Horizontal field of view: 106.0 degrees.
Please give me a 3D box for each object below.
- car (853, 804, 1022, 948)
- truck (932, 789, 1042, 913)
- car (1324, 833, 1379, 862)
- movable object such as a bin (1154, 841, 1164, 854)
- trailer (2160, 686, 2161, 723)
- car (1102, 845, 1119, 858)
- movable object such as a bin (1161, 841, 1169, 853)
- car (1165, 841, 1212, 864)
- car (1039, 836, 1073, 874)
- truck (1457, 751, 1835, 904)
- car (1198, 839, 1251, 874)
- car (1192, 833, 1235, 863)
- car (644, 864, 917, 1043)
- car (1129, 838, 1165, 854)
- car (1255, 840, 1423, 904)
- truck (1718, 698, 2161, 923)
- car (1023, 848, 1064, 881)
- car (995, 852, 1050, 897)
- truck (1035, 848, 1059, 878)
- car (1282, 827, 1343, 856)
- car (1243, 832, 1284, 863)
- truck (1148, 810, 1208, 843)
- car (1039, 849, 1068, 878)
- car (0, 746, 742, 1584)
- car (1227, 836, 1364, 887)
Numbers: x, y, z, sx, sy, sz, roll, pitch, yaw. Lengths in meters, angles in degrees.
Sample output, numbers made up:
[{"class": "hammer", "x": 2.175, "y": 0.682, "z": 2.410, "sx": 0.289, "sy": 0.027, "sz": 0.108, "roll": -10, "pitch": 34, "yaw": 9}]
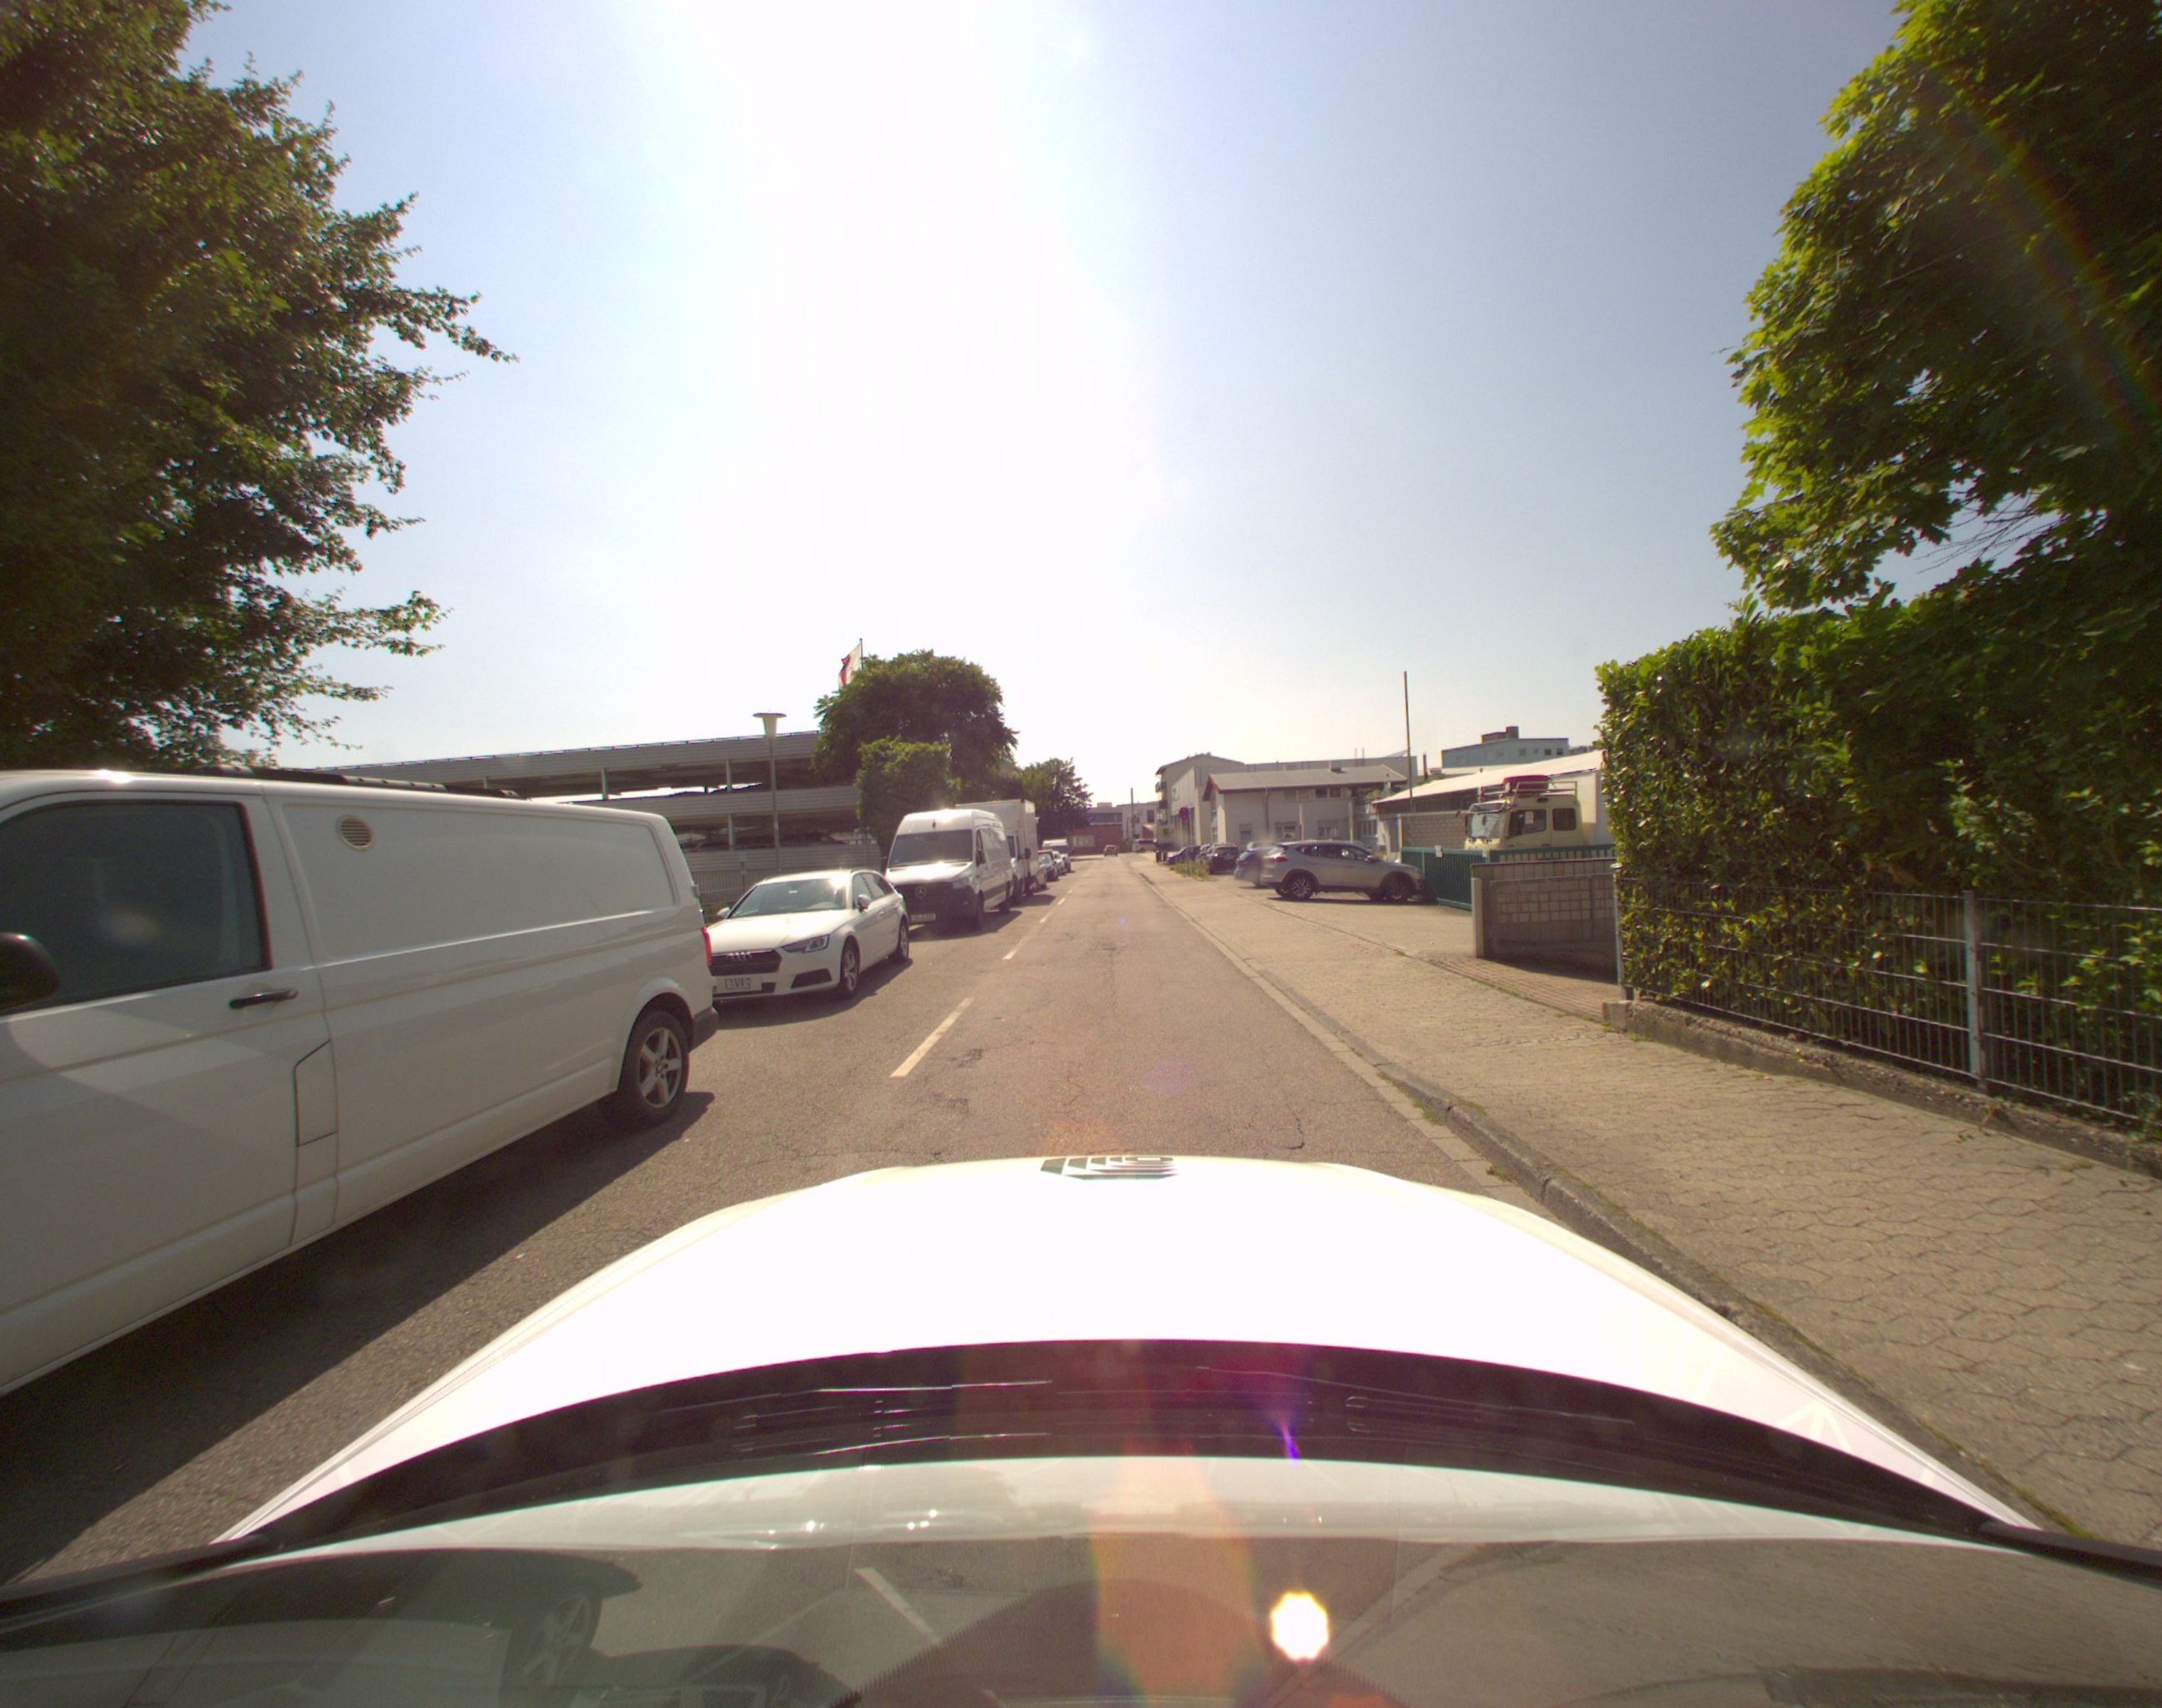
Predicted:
[{"class": "car", "x": -3.023, "y": 0.390, "z": 19.164, "sx": 2.159, "sy": 2.595, "sz": 6.926, "roll": -5, "pitch": 0, "yaw": 3}, {"class": "truck", "x": -2.889, "y": -0.109, "z": 27.061, "sx": 2.677, "sy": 3.366, "sz": 7.127, "roll": -4, "pitch": 0, "yaw": -1}, {"class": "car", "x": 13.728, "y": -0.373, "z": 41.546, "sx": 1.634, "sy": 1.324, "sz": 4.106, "roll": -4, "pitch": 1, "yaw": 5}, {"class": "movable object such as a bin", "x": 6.471, "y": -0.536, "z": 67.210, "sx": 0.562, "sy": 0.946, "sz": 0.561, "roll": -4, "pitch": 1, "yaw": 35}, {"class": "trailer", "x": 26.212, "y": -1.747, "z": 14.749, "sx": 8.289, "sy": 3.862, "sz": 3.074, "roll": -4, "pitch": 0, "yaw": 7}, {"class": "car", "x": 4.069, "y": -0.316, "z": 112.288, "sx": 1.885, "sy": 1.685, "sz": 3.955, "roll": -5, "pitch": 0, "yaw": -2}, {"class": "movable object such as a bin", "x": 6.978, "y": -0.552, "z": 67.609, "sx": 0.510, "sy": 0.946, "sz": 0.489, "roll": -4, "pitch": 1, "yaw": 13}, {"class": "car", "x": 7.843, "y": -0.096, "z": 59.580, "sx": 3.240, "sy": 1.398, "sz": 1.674, "roll": -4, "pitch": 1, "yaw": 2}, {"class": "car", "x": -1.707, "y": 0.070, "z": 58.056, "sx": 1.999, "sy": 2.366, "sz": 5.229, "roll": -5, "pitch": 0, "yaw": 0}, {"class": "truck", "x": 13.560, "y": -0.621, "z": 20.000, "sx": 7.489, "sy": 3.422, "sz": 2.528, "roll": -1, "pitch": 1, "yaw": 2}, {"class": "car", "x": 7.352, "y": 0.083, "z": 42.139, "sx": 1.851, "sy": 1.567, "sz": 4.953, "roll": -4, "pitch": 1, "yaw": 1}, {"class": "car", "x": 7.694, "y": -0.364, "z": 47.684, "sx": 1.805, "sy": 1.558, "sz": 4.294, "roll": -4, "pitch": 1, "yaw": 1}, {"class": "car", "x": -3.434, "y": 1.017, "z": 10.322, "sx": 1.709, "sy": 1.543, "sz": 4.400, "roll": -5, "pitch": 1, "yaw": 0}, {"class": "car", "x": 9.640, "y": -1.181, "z": 118.985, "sx": 4.666, "sy": 1.957, "sz": 1.905, "roll": -5, "pitch": 0, "yaw": -17}, {"class": "car", "x": 7.165, "y": 0.472, "z": 22.880, "sx": 4.186, "sy": 1.682, "sz": 1.767, "roll": 0, "pitch": 0, "yaw": 1}, {"class": "truck", "x": 17.649, "y": -0.845, "z": 15.621, "sx": 8.238, "sy": 3.610, "sz": 2.957, "roll": -3, "pitch": 1, "yaw": 4}, {"class": "car", "x": -1.955, "y": 0.513, "z": 43.496, "sx": 1.698, "sy": 1.462, "sz": 4.117, "roll": -5, "pitch": 1, "yaw": 2}, {"class": "car", "x": -2.348, "y": 0.799, "z": 33.567, "sx": 1.735, "sy": 1.521, "sz": 4.312, "roll": -4, "pitch": 1, "yaw": 2}, {"class": "truck", "x": -2.027, "y": 0.524, "z": 49.285, "sx": 1.135, "sy": 1.622, "sz": 3.141, "roll": -6, "pitch": 1, "yaw": 0}, {"class": "car", "x": 13.528, "y": -0.727, "z": 47.838, "sx": 1.759, "sy": 1.495, "sz": 4.137, "roll": -5, "pitch": 1, "yaw": -9}, {"class": "car", "x": 10.029, "y": -0.399, "z": 45.023, "sx": 1.751, "sy": 1.594, "sz": 3.625, "roll": 0, "pitch": 2, "yaw": 5}, {"class": "truck", "x": 13.098, "y": -3.748, "z": 110.643, "sx": 7.346, "sy": 3.644, "sz": 2.764, "roll": -7, "pitch": 2, "yaw": -4}, {"class": "car", "x": -1.813, "y": 0.564, "z": 52.893, "sx": 1.701, "sy": 1.624, "sz": 3.970, "roll": -5, "pitch": 1, "yaw": -3}, {"class": "car", "x": -3.581, "y": 0.806, "z": 3.278, "sx": 1.964, "sy": 2.013, "sz": 5.059, "roll": -5, "pitch": 0, "yaw": 2}, {"class": "car", "x": 7.532, "y": 0.246, "z": 28.934, "sx": 4.337, "sy": 1.441, "sz": 1.893, "roll": -4, "pitch": 1, "yaw": 1}]
